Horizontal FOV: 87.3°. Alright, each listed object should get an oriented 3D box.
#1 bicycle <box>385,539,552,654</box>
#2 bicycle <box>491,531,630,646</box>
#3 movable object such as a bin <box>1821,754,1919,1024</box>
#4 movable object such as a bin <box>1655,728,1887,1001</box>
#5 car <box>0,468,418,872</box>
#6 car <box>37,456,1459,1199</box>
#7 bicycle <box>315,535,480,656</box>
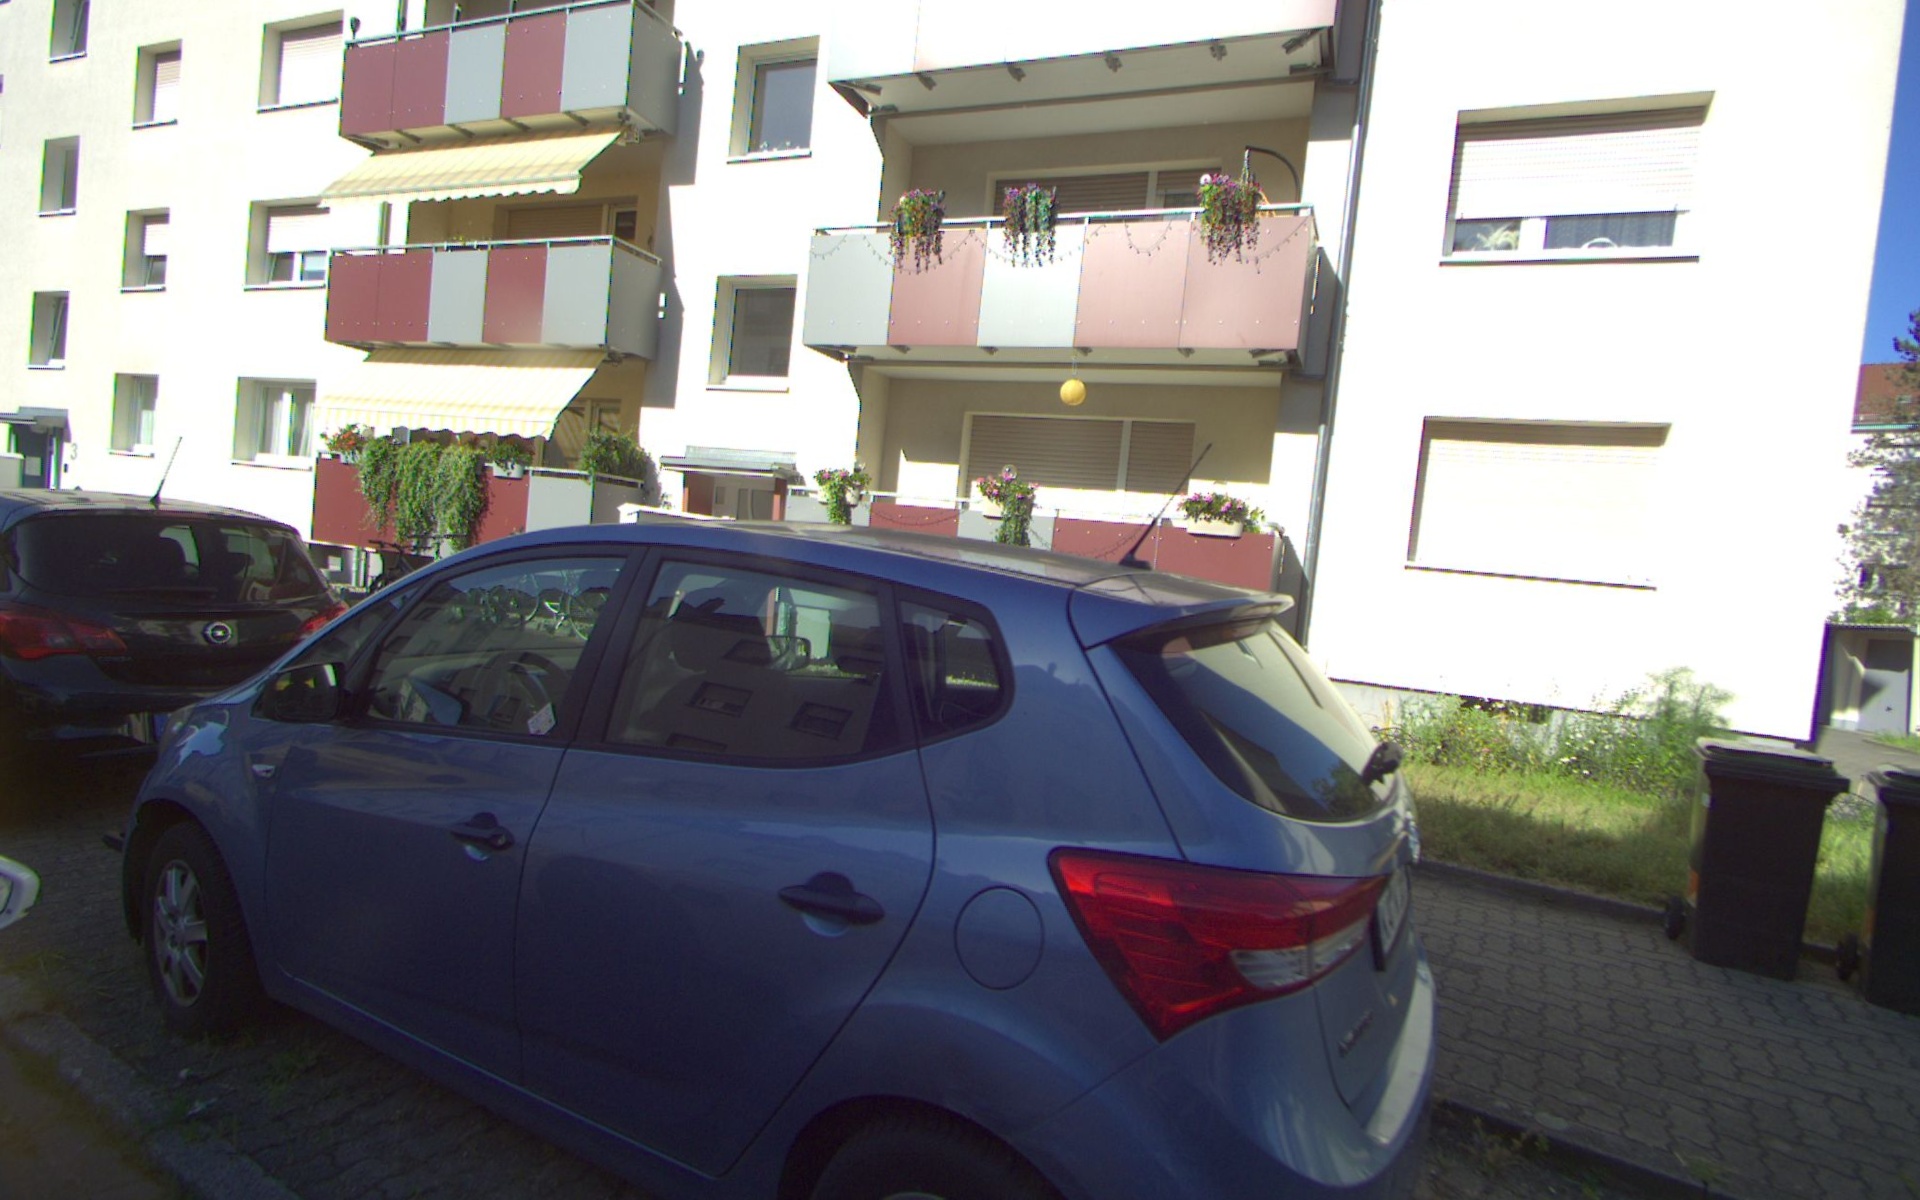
[{"bbox_3d":[-5.392,-0.066,10.995,1.862,0.993,0.617,9,7,26],"label":"bicycle"},{"bbox_3d":[-4.713,-0.151,11.824,1.731,1.167,0.407,7,5,25],"label":"bicycle"},{"bbox_3d":[3.835,1.137,3.932,0.509,0.912,0.583,7,5,29],"label":"movable object such as a bin"},{"bbox_3d":[3.390,1.073,4.268,0.575,0.913,0.583,7,5,29],"label":"movable object such as a bin"},{"bbox_3d":[-4.991,0.091,5.553,3.818,1.530,1.734,7,5,29],"label":"car"},{"bbox_3d":[-0.821,0.547,3.051,3.972,1.658,1.766,6,3,29],"label":"car"},{"bbox_3d":[-5.745,-0.068,10.244,1.809,1.034,0.498,7,5,26],"label":"bicycle"}]
